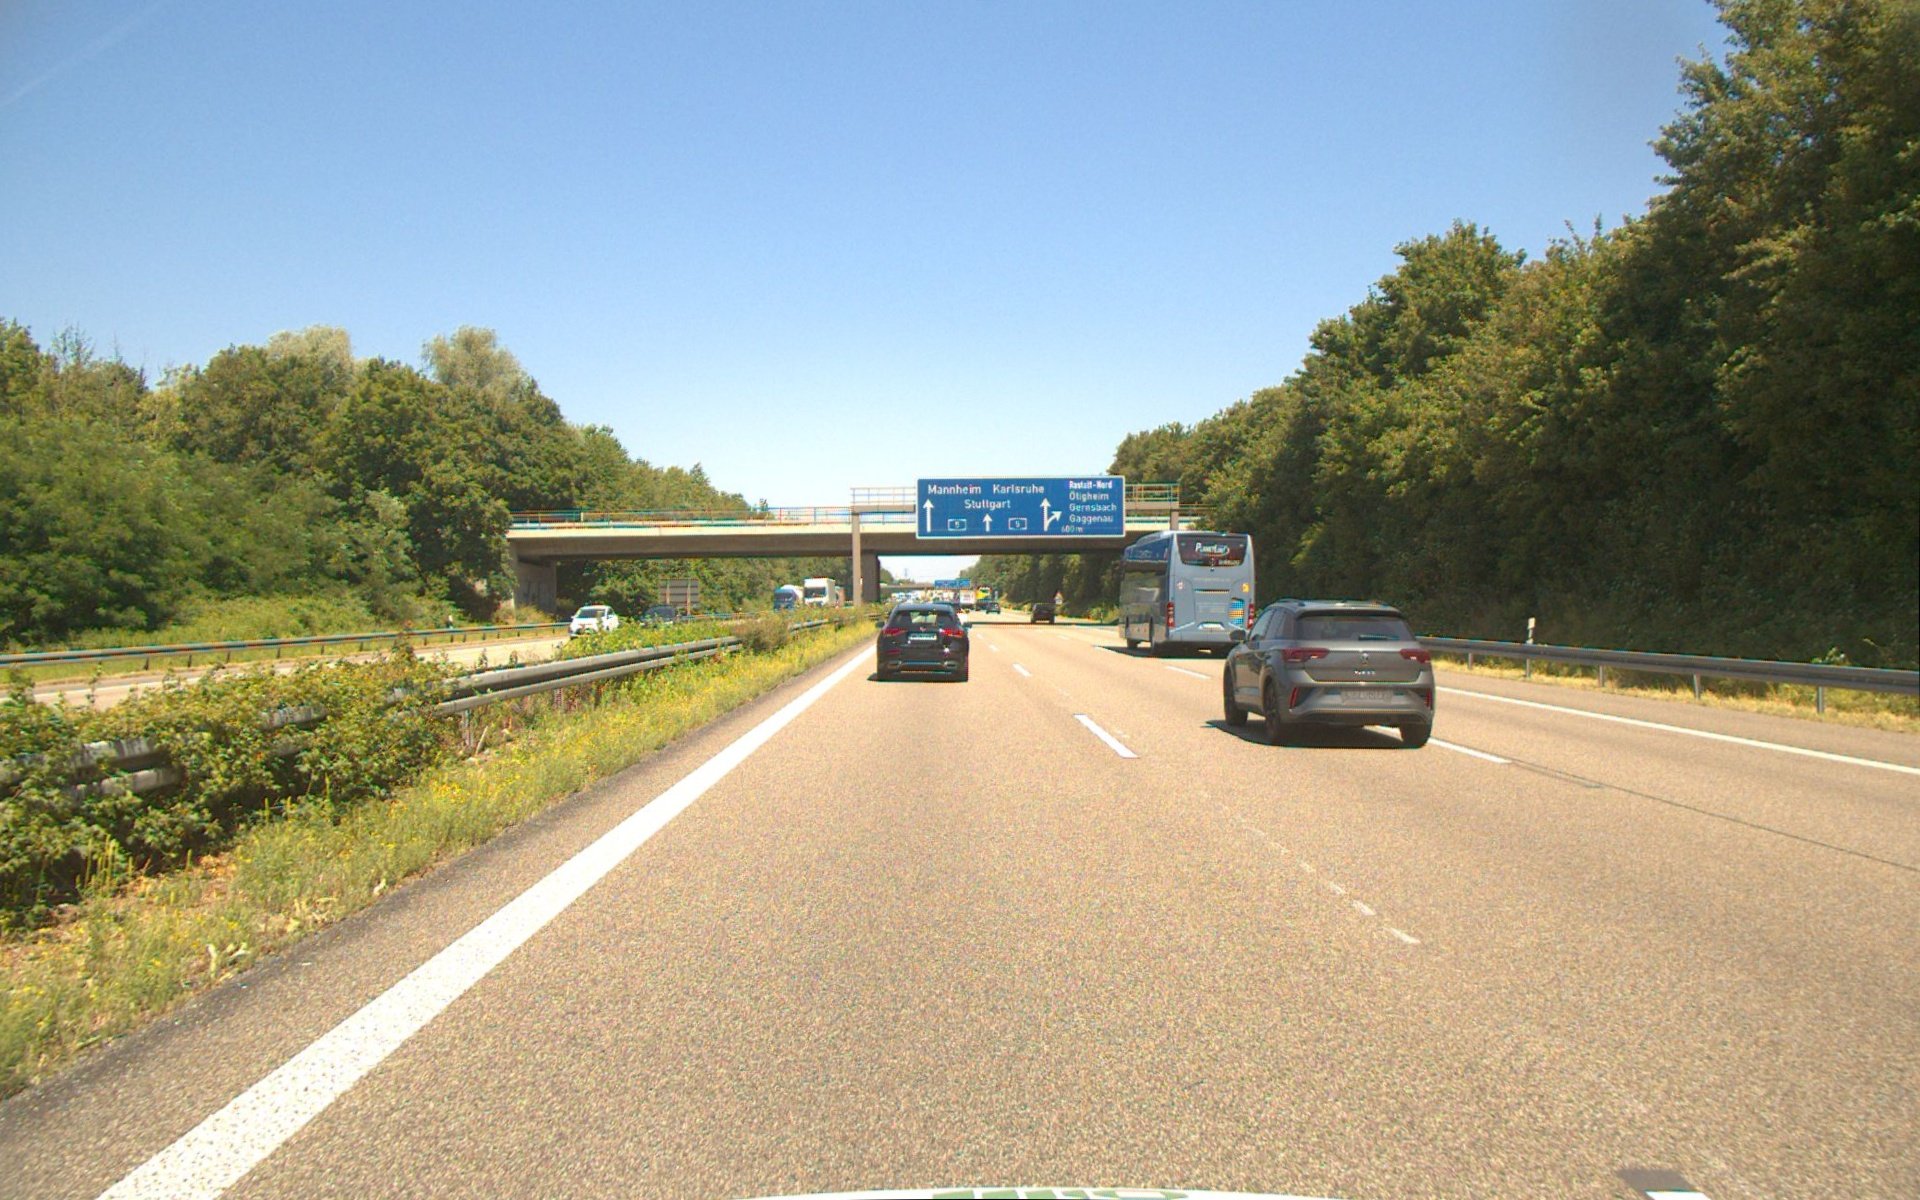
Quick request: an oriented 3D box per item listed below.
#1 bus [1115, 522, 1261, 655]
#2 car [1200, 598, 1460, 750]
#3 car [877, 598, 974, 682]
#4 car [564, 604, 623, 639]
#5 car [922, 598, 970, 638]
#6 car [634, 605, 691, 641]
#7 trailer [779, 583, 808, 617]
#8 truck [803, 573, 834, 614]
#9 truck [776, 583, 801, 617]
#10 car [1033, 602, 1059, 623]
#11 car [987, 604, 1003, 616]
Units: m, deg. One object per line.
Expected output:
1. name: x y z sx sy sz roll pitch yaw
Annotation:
1. bus: 6.885 -0.302 51.898 2.745 3.659 12.472 0 0 -1
2. car: 4.177 0.760 19.482 1.861 1.559 4.758 1 0 -2
3. car: -0.691 0.725 32.372 1.763 1.528 4.240 1 0 -2
4. car: -17.730 1.025 80.222 1.861 1.621 4.741 -2 0 -2
5. car: -0.588 0.709 67.431 1.861 1.559 4.240 1 0 -2
6. car: -14.085 1.076 78.651 1.861 1.559 5.030 -4 0 -2
7. trailer: -19.833 -0.010 197.413 2.311 3.861 12.072 -2 0 -1
8. truck: -15.395 -0.704 180.709 2.771 4.285 5.888 -2 0 -1
9. truck: -19.754 0.002 190.468 2.312 3.841 5.251 -2 0 -1
10. car: 6.554 0.948 126.617 1.753 1.487 3.949 1 0 0
11. car: 4.629 1.264 217.639 2.038 1.559 4.241 1 0 0
